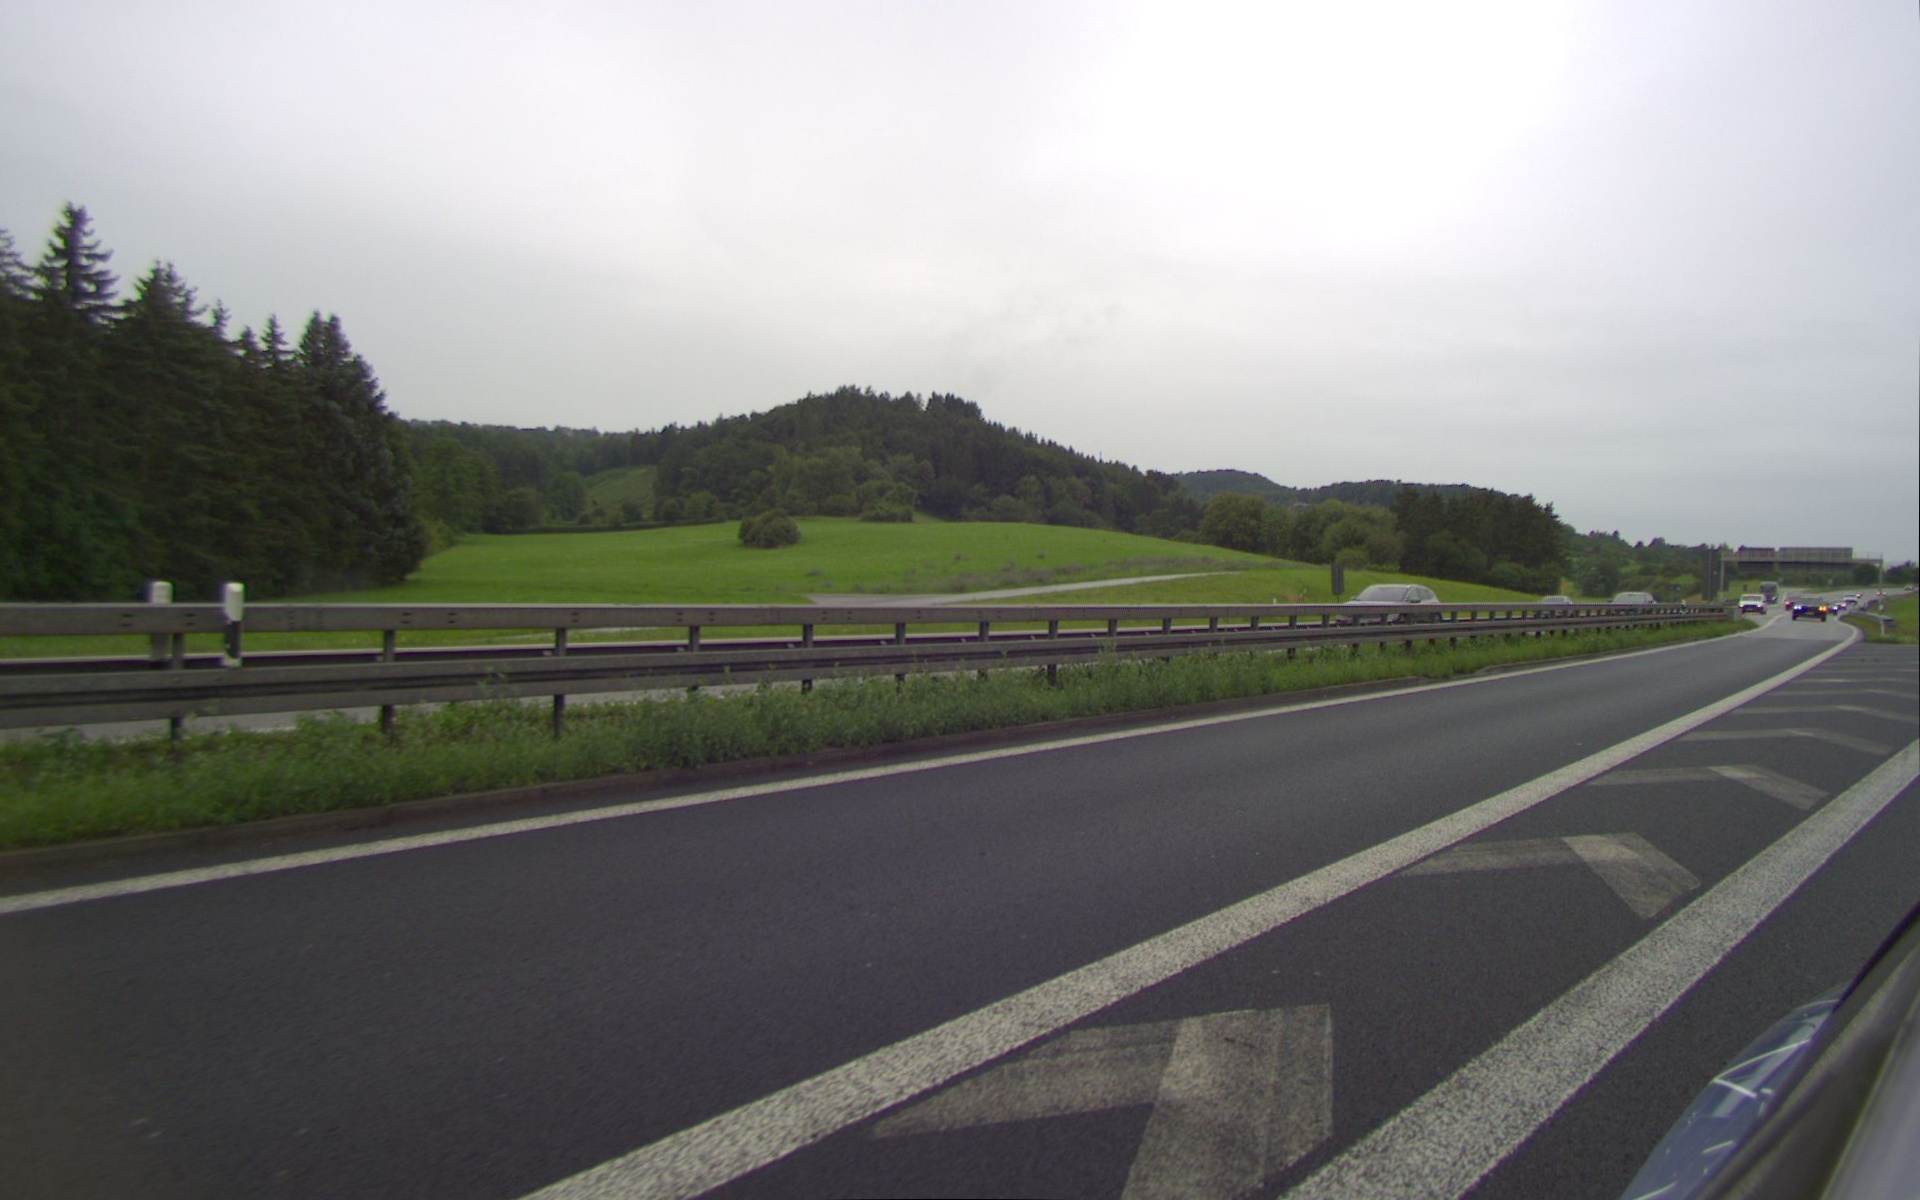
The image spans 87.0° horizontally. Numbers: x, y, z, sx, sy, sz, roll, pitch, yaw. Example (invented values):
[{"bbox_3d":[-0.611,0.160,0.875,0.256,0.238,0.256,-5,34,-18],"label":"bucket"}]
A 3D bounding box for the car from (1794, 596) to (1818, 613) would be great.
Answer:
[{"bbox_3d":[106.234,0.556,127.094,2.123,2.039,5.000,0,1,42],"label":"car"}]

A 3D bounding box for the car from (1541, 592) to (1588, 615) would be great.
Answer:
[{"bbox_3d":[40.564,0.209,67.862,1.897,1.473,4.639,0,1,42],"label":"car"}]

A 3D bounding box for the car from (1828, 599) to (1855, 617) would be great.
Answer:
[{"bbox_3d":[92.002,0.809,105.652,1.909,1.715,4.644,0,1,44],"label":"car"}]

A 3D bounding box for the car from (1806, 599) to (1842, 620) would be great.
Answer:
[{"bbox_3d":[62.110,0.653,72.818,1.859,1.374,4.502,0,1,39],"label":"car"}]

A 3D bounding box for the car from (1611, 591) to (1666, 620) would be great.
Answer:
[{"bbox_3d":[34.744,0.257,51.773,1.667,1.400,4.061,0,1,44],"label":"car"}]

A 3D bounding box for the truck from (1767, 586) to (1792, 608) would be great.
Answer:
[{"bbox_3d":[153.094,-0.611,189.033,2.792,3.950,9.867,0,1,44],"label":"truck"}]

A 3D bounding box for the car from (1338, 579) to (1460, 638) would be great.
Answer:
[{"bbox_3d":[13.148,0.202,30.158,4.567,1.630,1.771,-1,1,-45],"label":"car"}]

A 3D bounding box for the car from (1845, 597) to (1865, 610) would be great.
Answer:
[{"bbox_3d":[125.237,0.431,141.567,1.909,1.715,4.644,0,1,44],"label":"car"}]

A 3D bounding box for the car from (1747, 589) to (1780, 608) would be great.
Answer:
[{"bbox_3d":[74.861,-0.145,94.236,1.910,1.715,4.643,0,1,45],"label":"car"}]
